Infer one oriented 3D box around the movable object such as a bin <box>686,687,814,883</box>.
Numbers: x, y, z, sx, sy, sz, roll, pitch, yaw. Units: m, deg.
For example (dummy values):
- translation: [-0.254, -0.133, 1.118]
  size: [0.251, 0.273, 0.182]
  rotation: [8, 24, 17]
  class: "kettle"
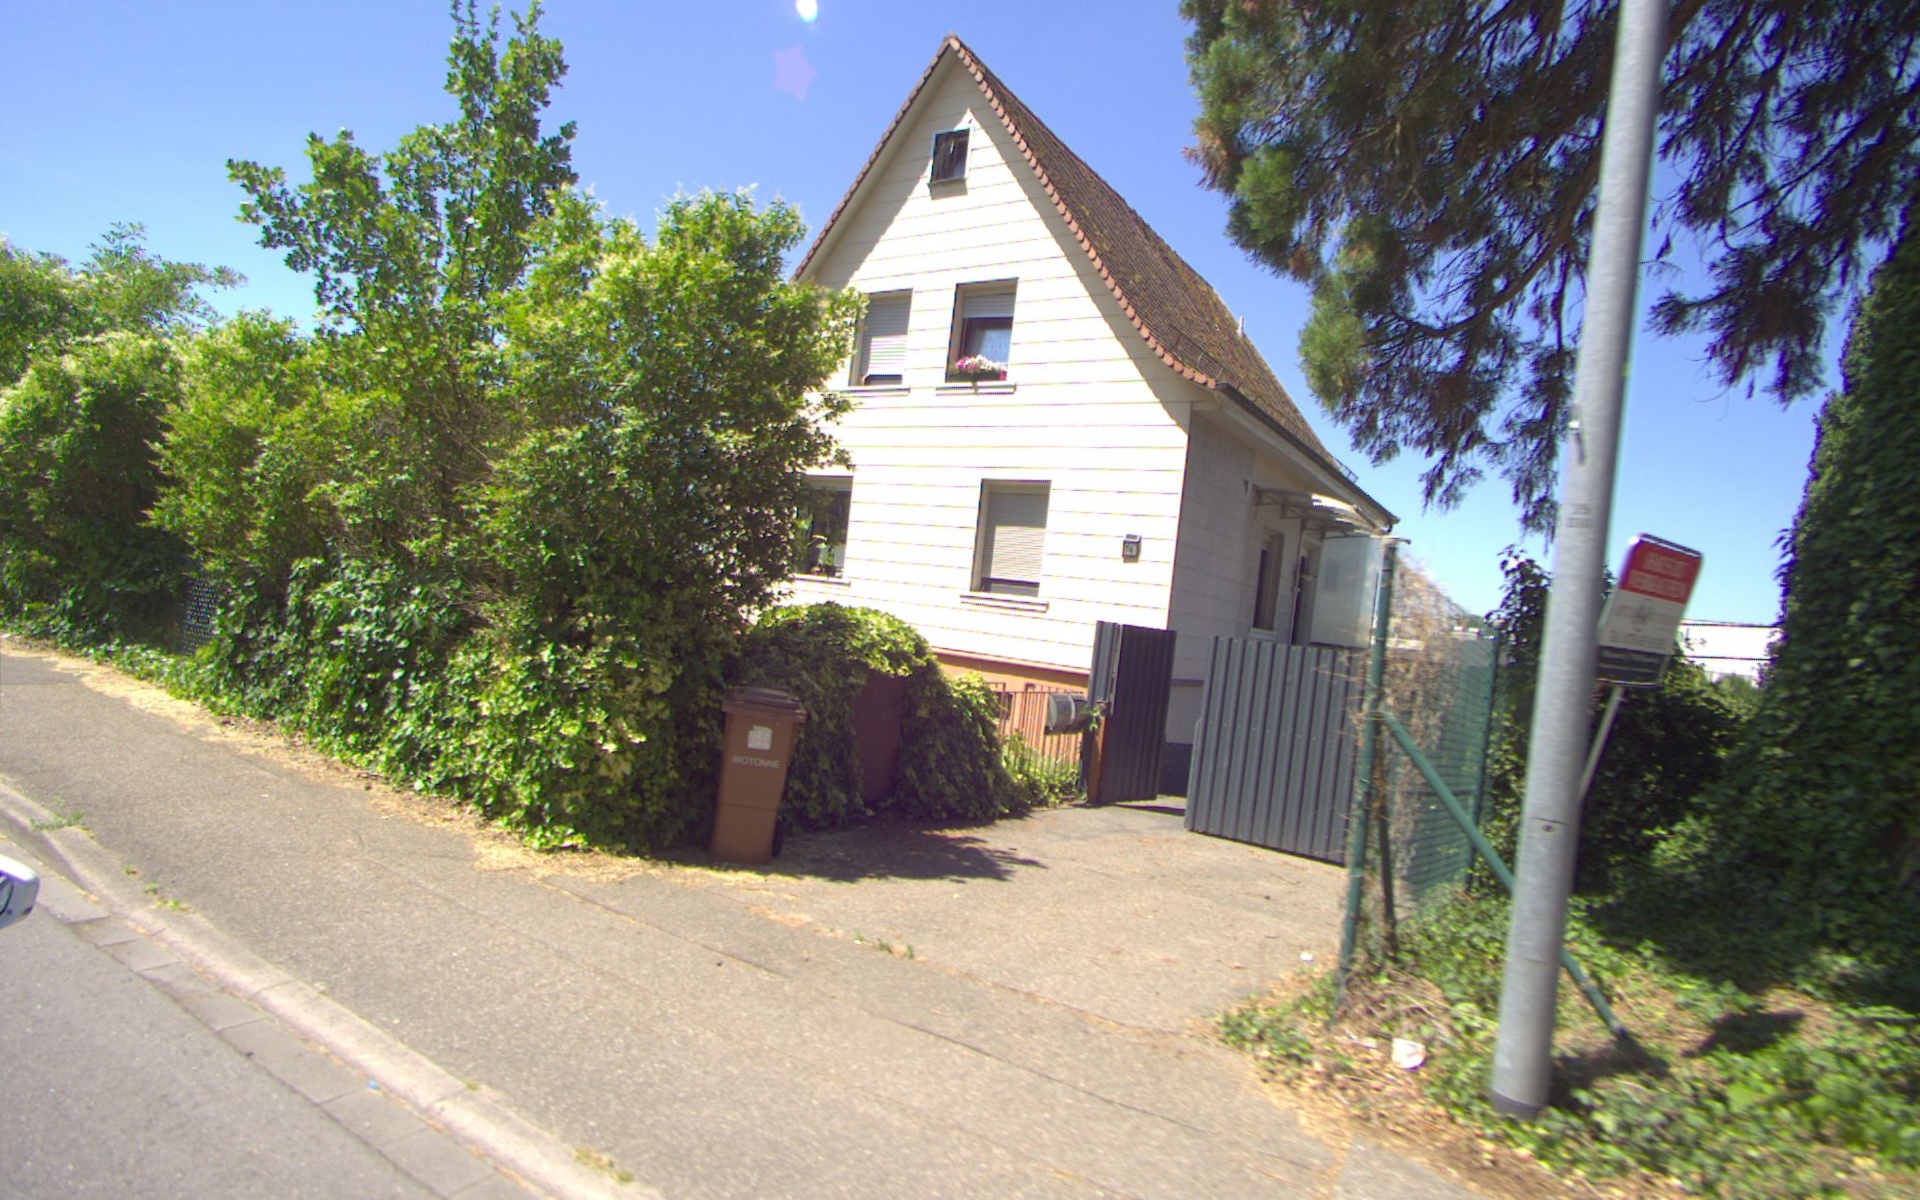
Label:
- translation: [-1.141, 0.983, 5.426]
  size: [0.466, 0.938, 0.521]
  rotation: [8, -2, -25]
  class: "movable object such as a bin"
